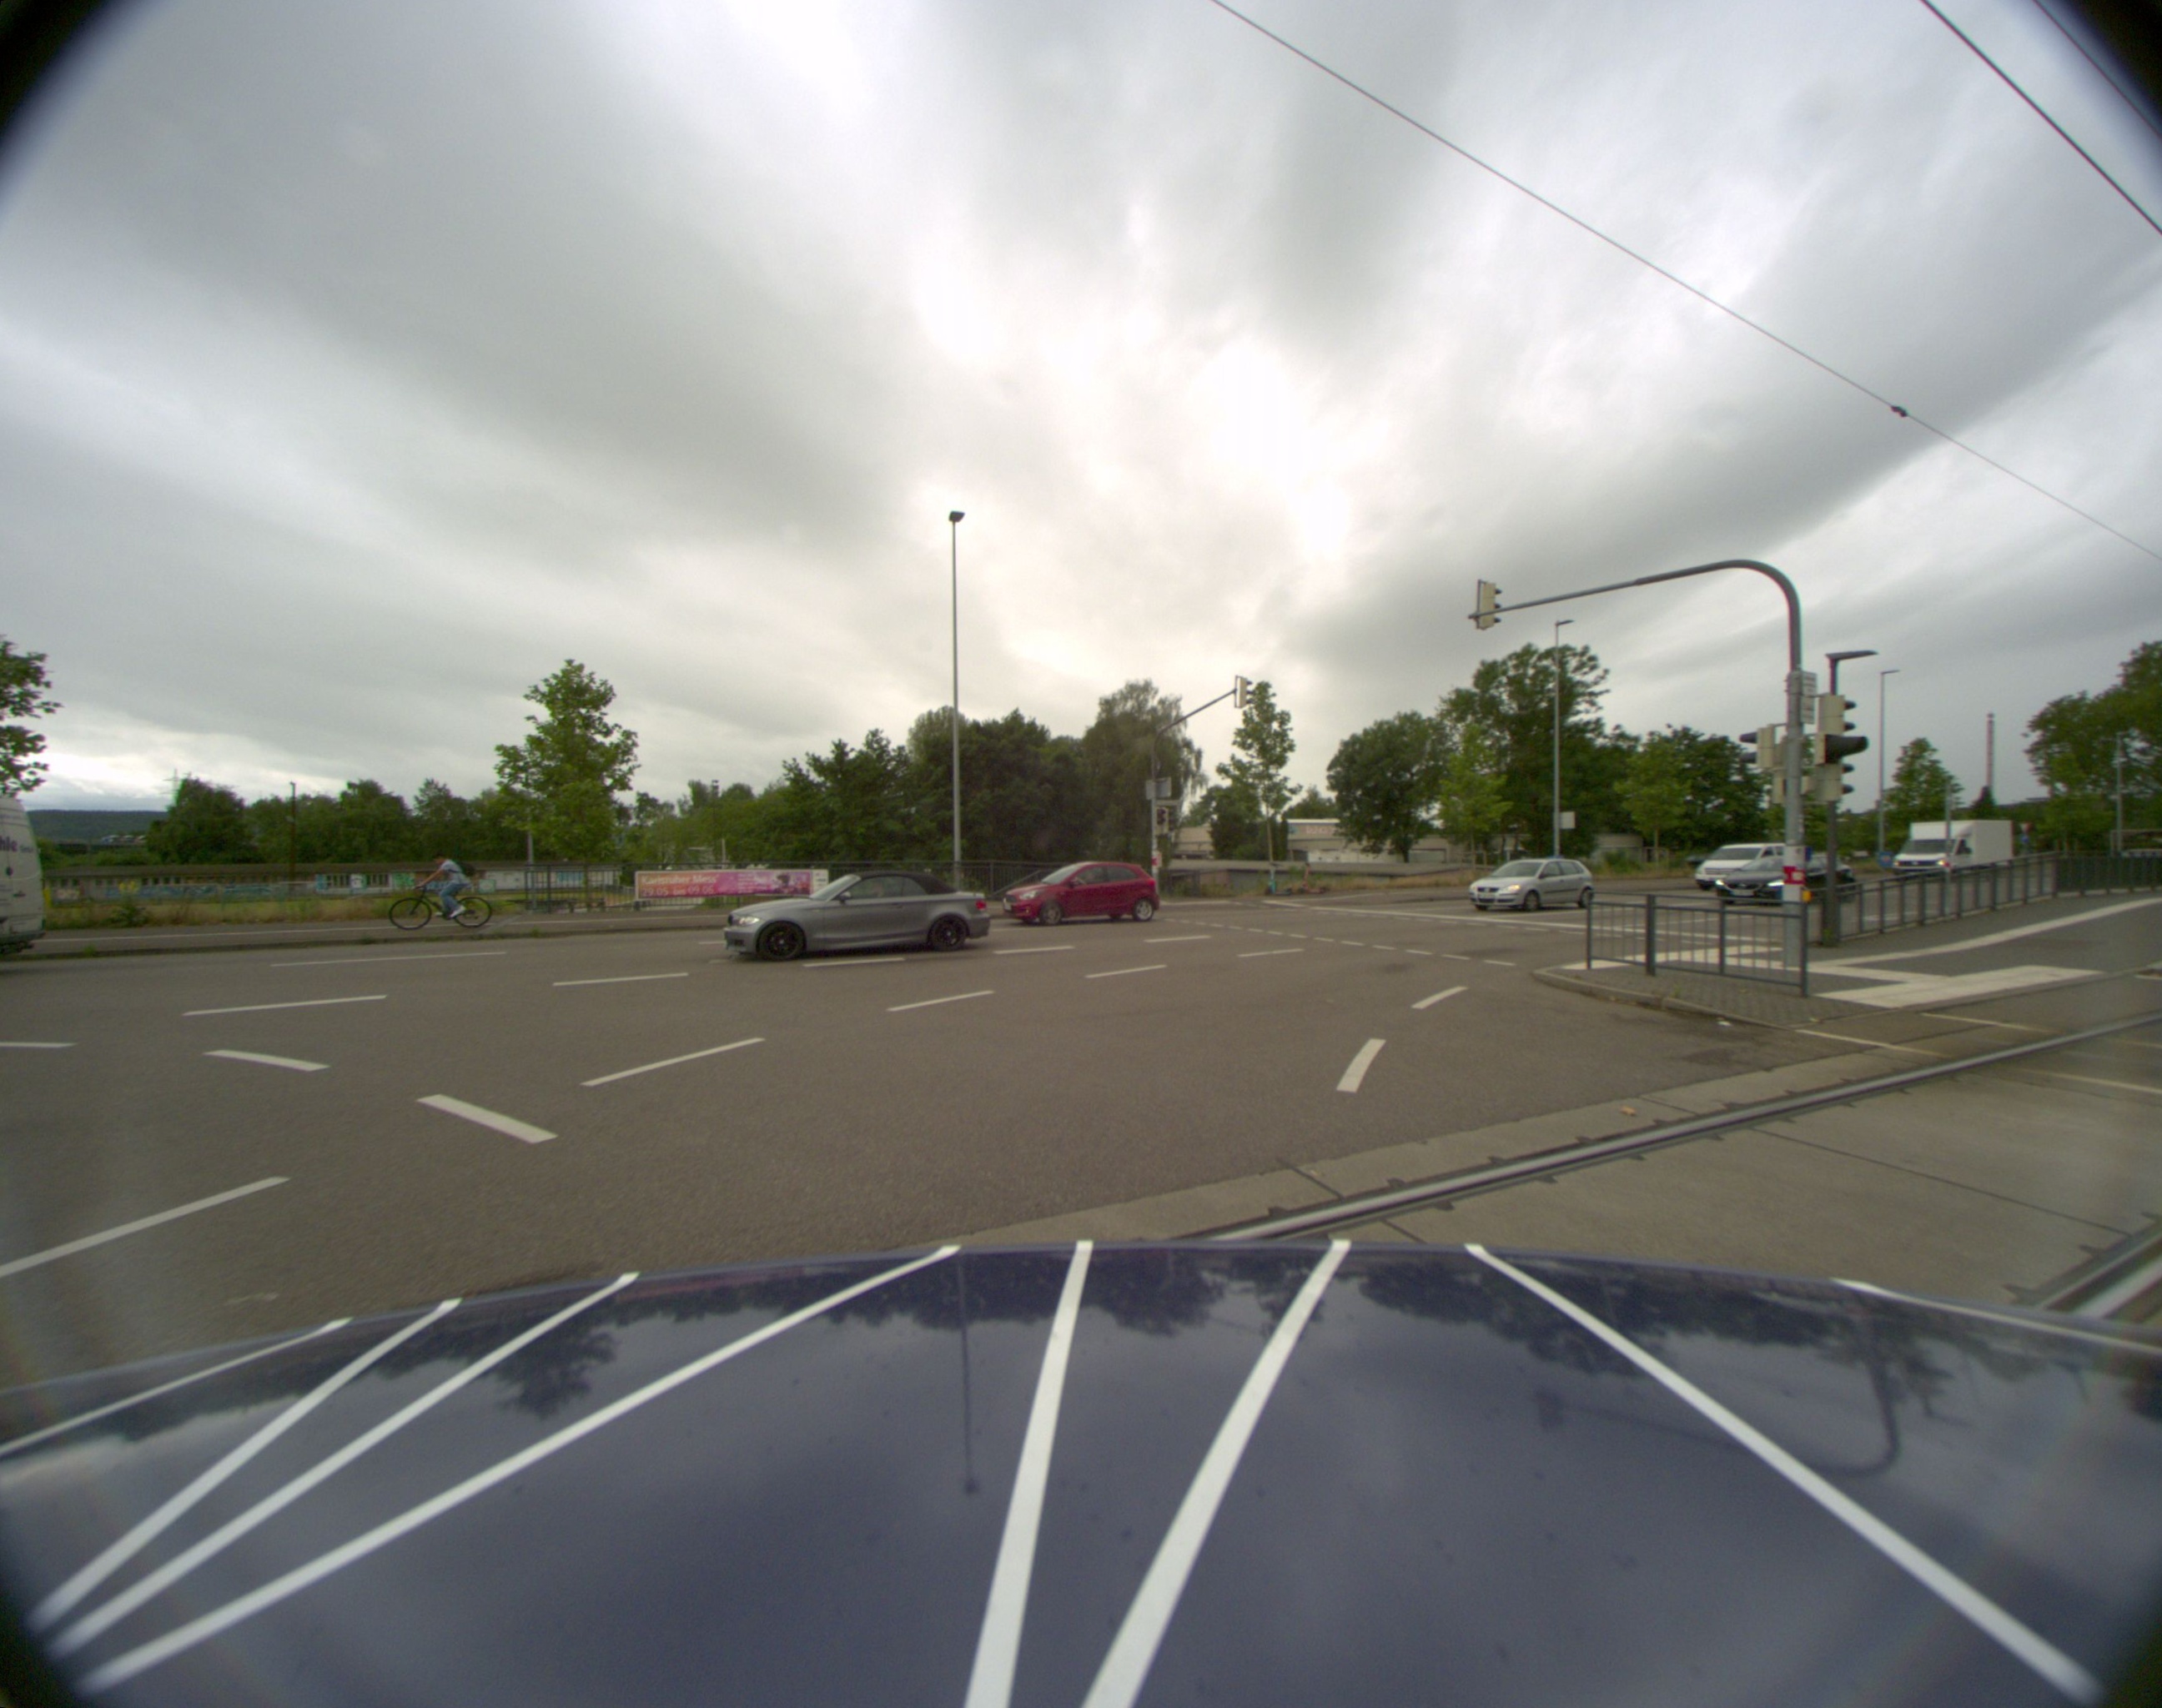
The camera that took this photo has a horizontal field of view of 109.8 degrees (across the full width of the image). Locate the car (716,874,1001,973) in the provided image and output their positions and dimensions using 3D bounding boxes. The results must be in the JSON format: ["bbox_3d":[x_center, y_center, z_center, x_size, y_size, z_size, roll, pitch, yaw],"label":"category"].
[{"bbox_3d":[-3.749,1.064,12.951,4.350,1.382,1.872,0,-1,-29],"label":"car"}]

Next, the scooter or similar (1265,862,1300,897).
[{"bbox_3d":[7.481,0.943,28.157,1.155,1.236,0.477,0,2,-16],"label":"scooter or similar"}]

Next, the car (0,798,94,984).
[{"bbox_3d":[-18.078,0.548,9.814,5.909,2.610,2.659,0,0,-30],"label":"car"}]

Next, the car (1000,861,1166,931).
[{"bbox_3d":[0.048,0.980,18.886,3.776,1.552,1.653,0,0,-25],"label":"car"}]

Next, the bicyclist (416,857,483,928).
[{"bbox_3d":[-13.536,0.801,16.315,0.969,1.445,0.690,1,3,-25],"label":"bicyclist"}]

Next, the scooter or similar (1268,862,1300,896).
[{"bbox_3d":[7.666,0.941,28.710,1.156,1.236,0.390,-1,2,-21],"label":"scooter or similar"}]

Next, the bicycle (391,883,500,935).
[{"bbox_3d":[-13.610,1.162,16.326,1.711,1.040,0.547,1,3,-26],"label":"bicycle"}]

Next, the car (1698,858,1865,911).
[{"bbox_3d":[20.328,0.835,22.058,4.349,1.382,1.996,0,0,-24],"label":"car"}]

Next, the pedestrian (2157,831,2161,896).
[{"bbox_3d":[25.993,0.217,17.819,0.633,1.551,0.710,-2,0,-20],"label":"pedestrian"}]

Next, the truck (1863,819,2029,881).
[{"bbox_3d":[43.166,-0.192,37.974,6.547,2.906,2.825,-1,0,-15],"label":"truck"}]

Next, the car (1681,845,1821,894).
[{"bbox_3d":[27.777,0.614,31.502,5.125,1.869,2.097,-1,0,-19],"label":"car"}]

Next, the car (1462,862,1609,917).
[{"bbox_3d":[12.997,0.966,21.707,3.855,1.410,1.680,0,0,-24],"label":"car"}]

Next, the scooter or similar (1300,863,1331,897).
[{"bbox_3d":[8.910,0.971,28.901,1.048,1.208,0.375,-3,3,-16],"label":"scooter or similar"}]
